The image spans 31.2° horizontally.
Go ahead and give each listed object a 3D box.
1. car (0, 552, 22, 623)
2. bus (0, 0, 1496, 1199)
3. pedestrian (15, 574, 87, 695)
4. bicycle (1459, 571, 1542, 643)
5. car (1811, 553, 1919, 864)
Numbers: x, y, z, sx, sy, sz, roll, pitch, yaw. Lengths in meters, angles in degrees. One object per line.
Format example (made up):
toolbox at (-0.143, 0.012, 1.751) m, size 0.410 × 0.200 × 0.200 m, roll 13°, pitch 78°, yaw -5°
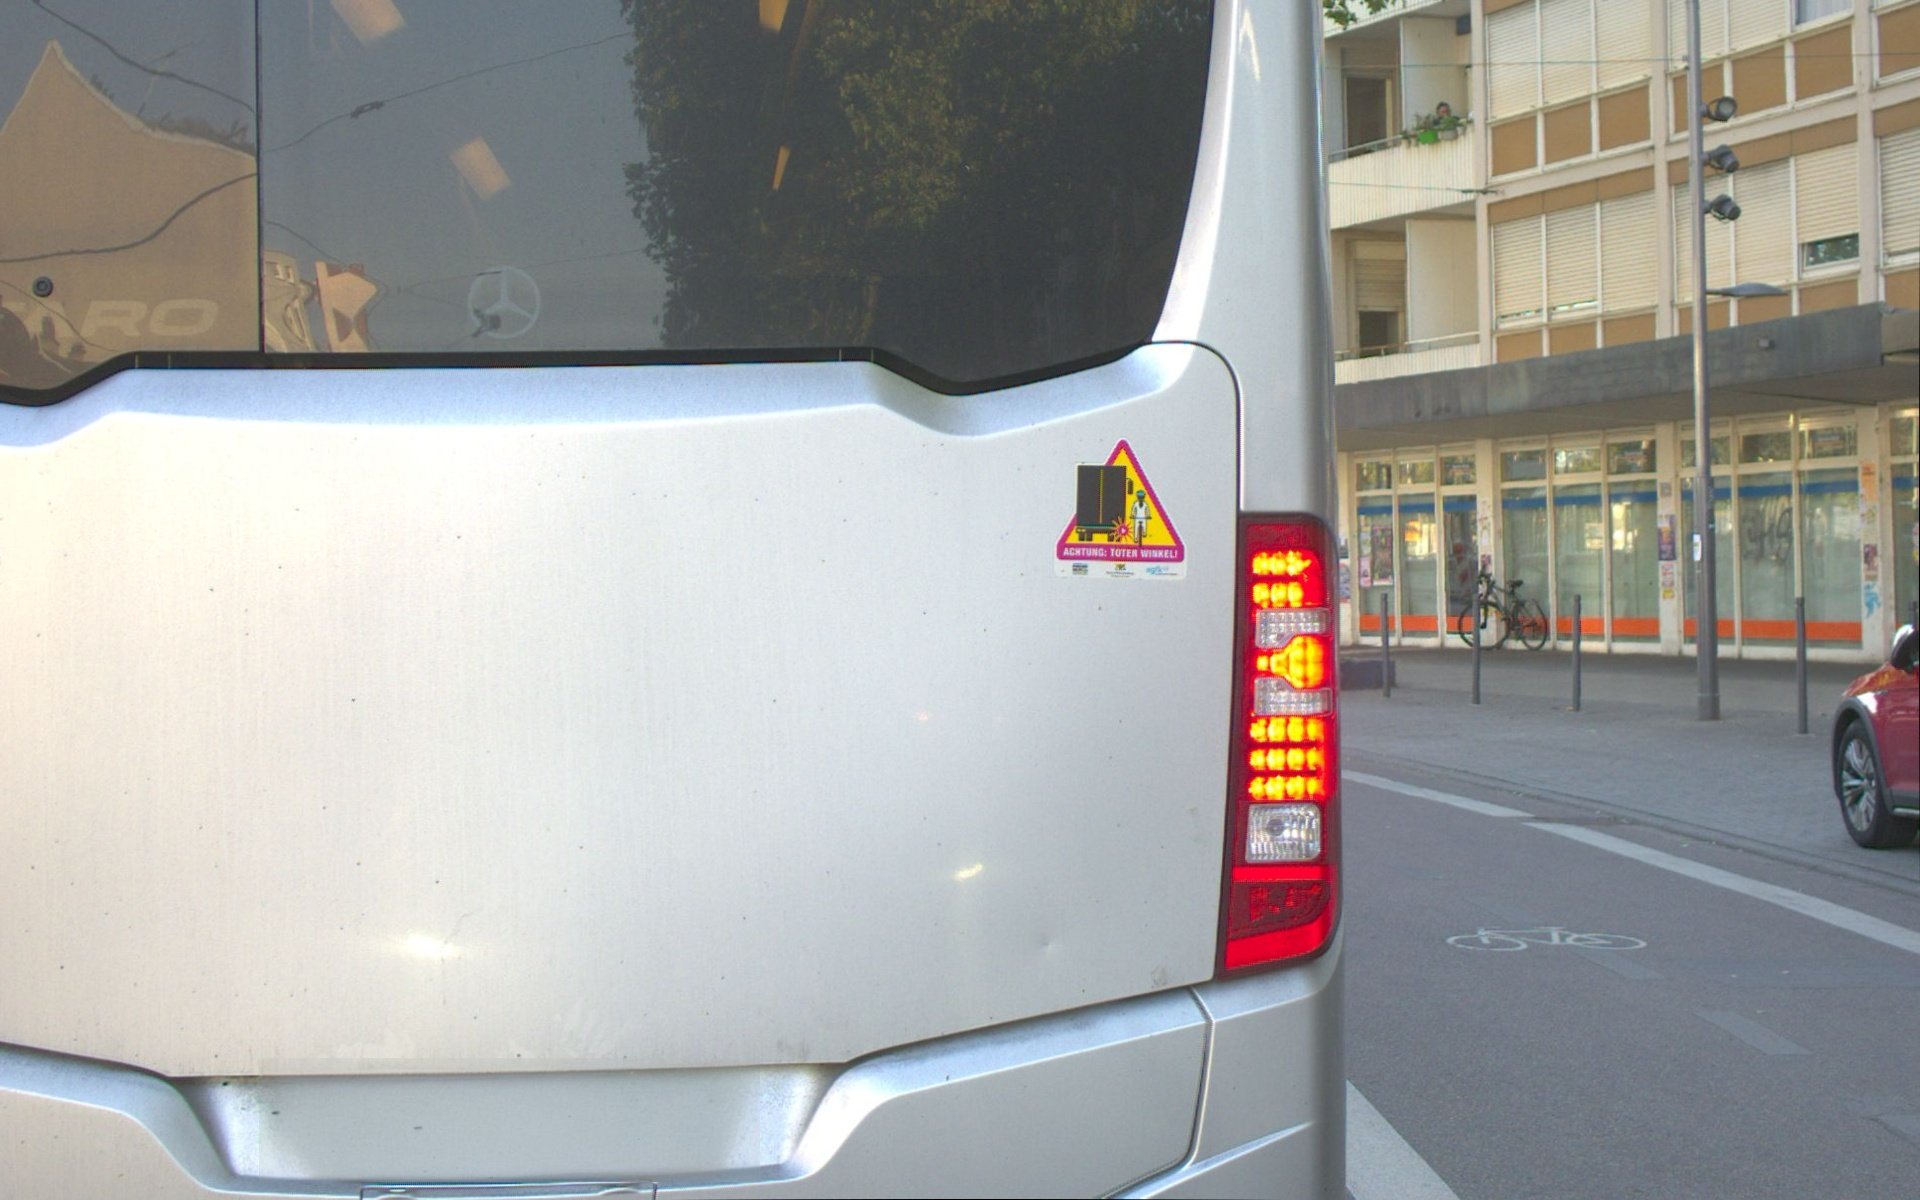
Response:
car at (-25.913, -0.337, 88.216) m, size 1.994 × 1.785 × 3.998 m, roll 1°, pitch 0°, yaw -41°
bus at (-0.764, -0.142, 9.811) m, size 2.630 × 3.017 × 9.998 m, roll 0°, pitch 1°, yaw -2°
pedestrian at (-11.007, 0.413, 41.630) m, size 0.767 × 1.445 × 0.638 m, roll 1°, pitch 0°, yaw -10°
bicycle at (7.163, 0.087, 45.607) m, size 0.412 × 0.941 × 1.441 m, roll -1°, pitch 1°, yaw -20°
car at (5.521, 0.504, 15.899) m, size 1.769 × 1.477 × 4.304 m, roll -2°, pitch 1°, yaw -4°
